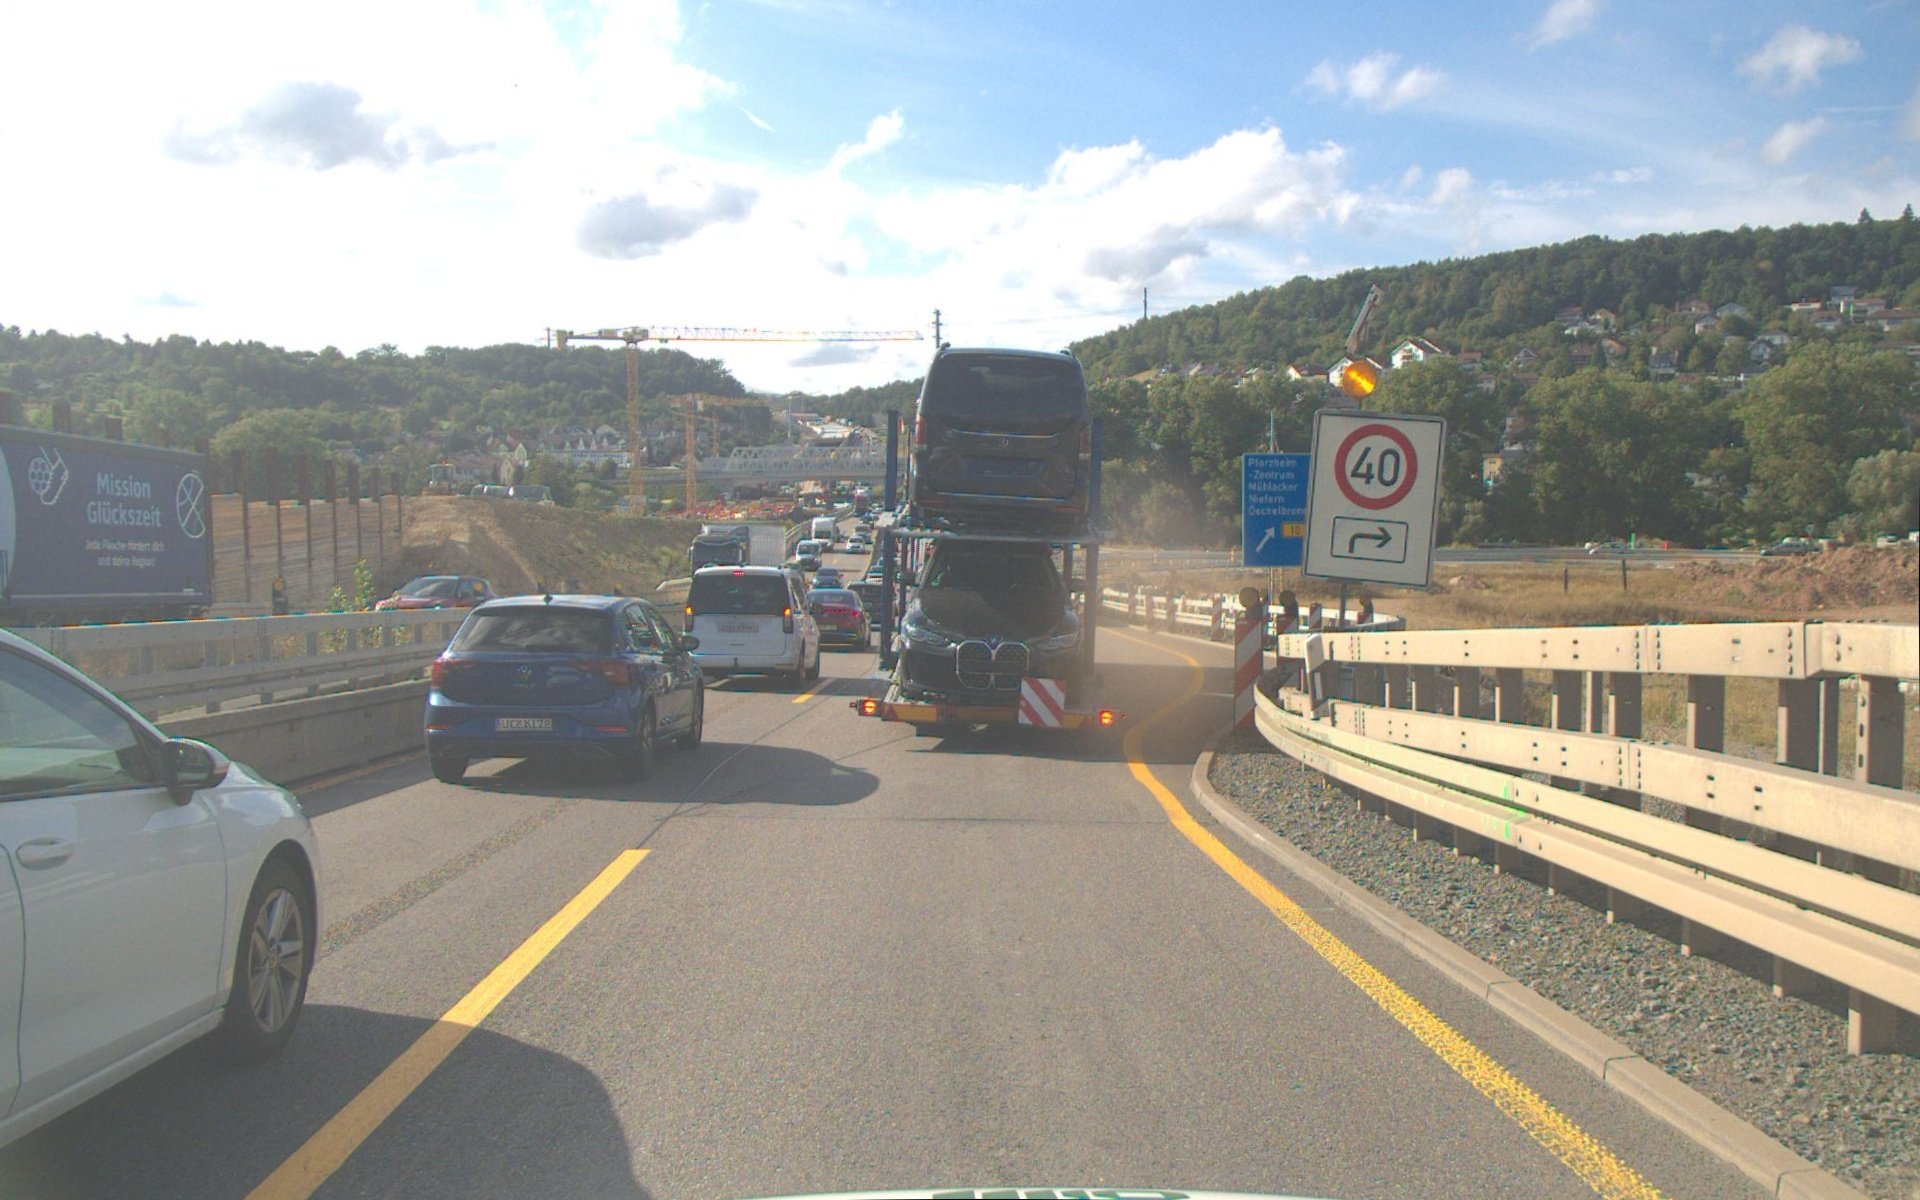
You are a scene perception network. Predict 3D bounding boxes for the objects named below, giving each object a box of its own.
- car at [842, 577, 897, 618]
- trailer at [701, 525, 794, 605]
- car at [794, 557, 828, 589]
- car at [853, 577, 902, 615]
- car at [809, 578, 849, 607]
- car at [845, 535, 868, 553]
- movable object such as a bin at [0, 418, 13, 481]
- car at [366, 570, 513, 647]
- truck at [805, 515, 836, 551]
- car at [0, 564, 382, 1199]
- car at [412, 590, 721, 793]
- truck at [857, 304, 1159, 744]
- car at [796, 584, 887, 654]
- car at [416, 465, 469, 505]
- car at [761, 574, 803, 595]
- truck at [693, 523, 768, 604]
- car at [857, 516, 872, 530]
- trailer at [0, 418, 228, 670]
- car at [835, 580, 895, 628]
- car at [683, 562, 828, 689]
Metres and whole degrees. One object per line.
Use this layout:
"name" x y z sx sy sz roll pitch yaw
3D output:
"car" -3.581 -0.084 65.943 1.953 1.579 4.000 1 0 0
"trailer" -11.275 -1.738 89.441 2.762 3.908 13.806 1 0 2
"car" -12.360 -2.212 137.533 2.212 2.444 5.867 1 0 1
"car" -3.604 -0.163 72.998 1.953 1.579 4.000 1 0 0
"car" -8.208 -0.465 103.899 1.952 1.757 4.124 1 0 3
"car" -10.482 -5.693 167.766 2.082 1.703 4.272 0 1 -1
"movable object such as a bin" -55.102 -8.267 88.961 5.623 3.328 4.514 1 0 10
"car" -12.970 0.221 41.498 1.883 1.798 4.330 1 0 6
"truck" -14.255 -6.831 169.914 2.646 3.369 7.535 1 0 -1
"car" -2.879 0.697 3.589 1.734 1.517 4.515 -1 -1 -1
"car" -3.192 0.660 14.203 1.687 1.446 4.000 0 1 0
"truck" 0.397 -0.656 24.891 2.697 4.024 18.886 2 0 0
"car" -2.866 0.456 40.889 1.953 1.584 4.400 1 0 0
"car" -35.210 -7.795 112.701 1.954 2.177 5.319 -4 0 -2
"car" -12.306 -1.064 114.568 1.879 1.295 4.003 1 0 8
"truck" -11.483 -1.752 83.150 2.719 3.854 6.019 1 0 2
"car" -12.705 -10.269 220.436 1.815 1.663 4.750 0 4 -1
"trailer" -17.416 -0.954 28.447 2.631 4.228 13.818 1 0 4
"car" -3.234 0.147 56.807 1.954 1.579 3.998 1 0 -3
"car" -3.135 0.380 26.059 1.786 1.823 3.999 1 0 0
